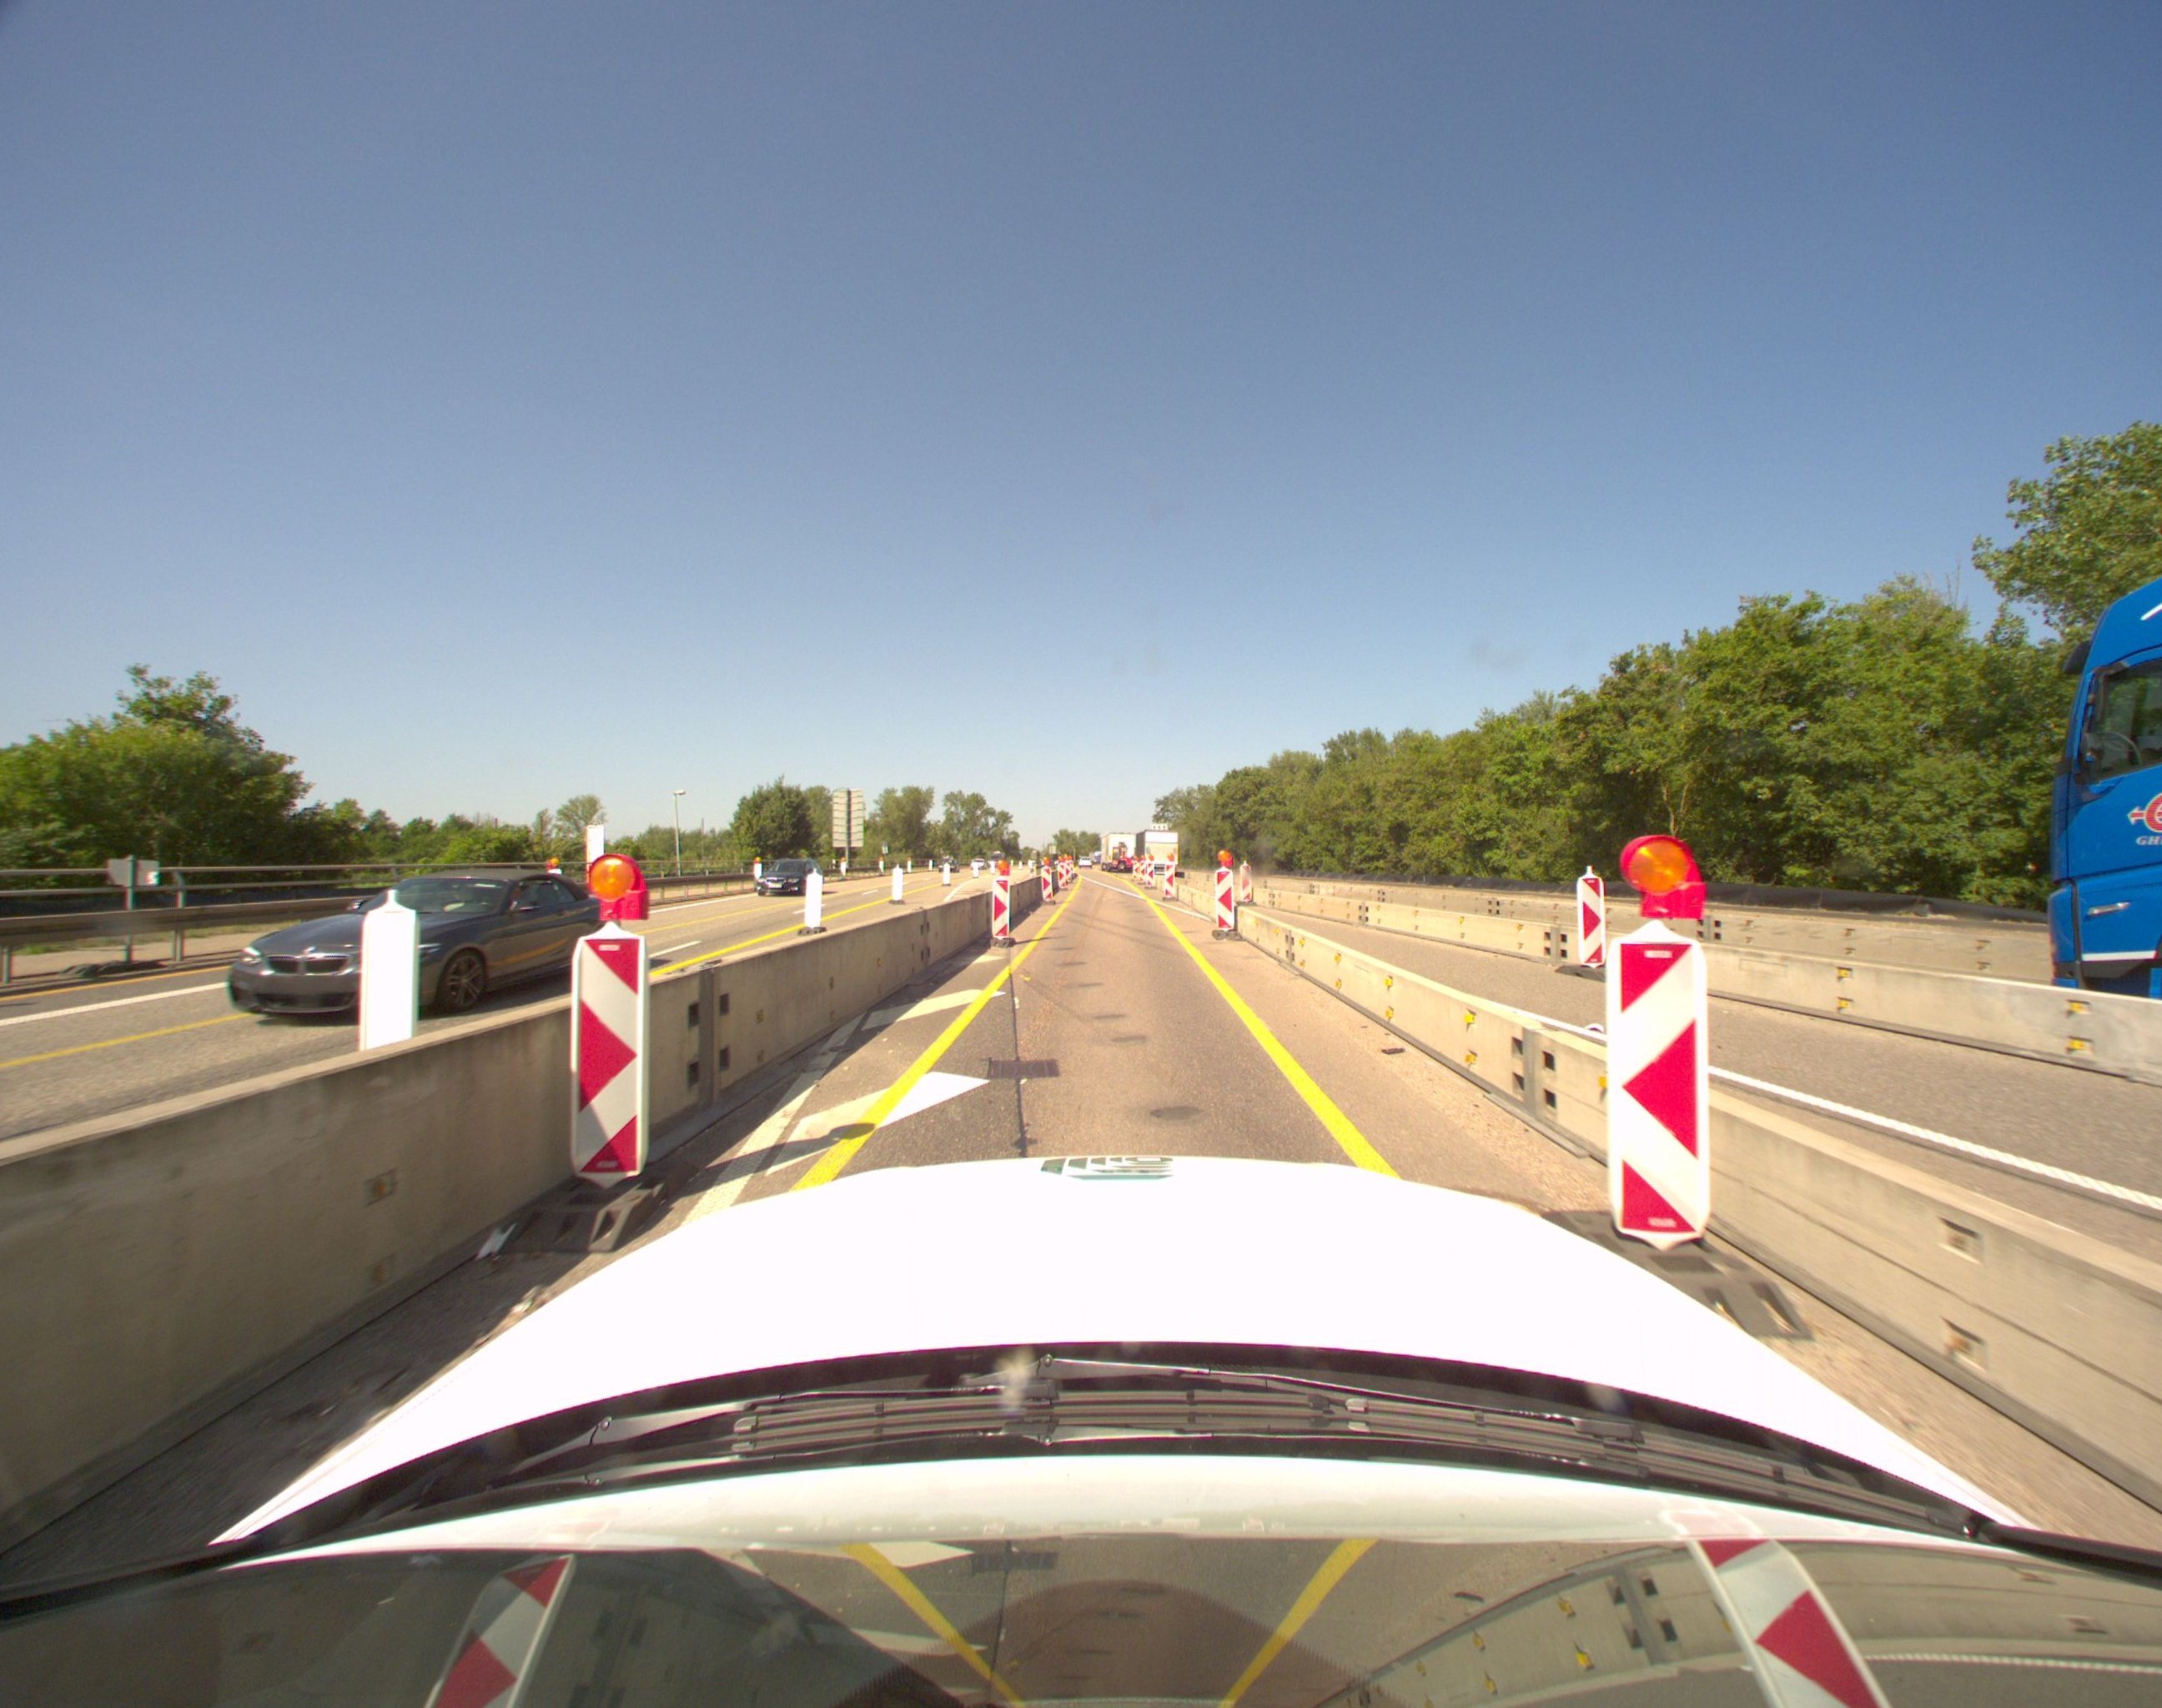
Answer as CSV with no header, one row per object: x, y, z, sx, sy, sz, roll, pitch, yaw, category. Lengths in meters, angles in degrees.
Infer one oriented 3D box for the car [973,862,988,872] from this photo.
-13.856,1.764,112.517,1.715,1.397,4.515,0,0,-2,car

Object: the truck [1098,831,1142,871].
3.865,-0.272,83.599,3.384,3.774,7.217,-2,0,-6,truck

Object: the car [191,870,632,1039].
-7.037,0.918,9.285,1.686,1.376,4.267,-1,0,-4,car

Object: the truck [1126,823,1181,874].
5.149,-0.369,59.008,2.631,3.427,7.218,-1,0,-6,truck

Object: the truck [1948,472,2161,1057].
9.170,-0.669,3.475,2.691,4.102,7.285,-2,0,-6,truck

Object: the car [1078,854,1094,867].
0.702,0.872,114.067,1.814,1.776,3.991,-2,0,-6,car

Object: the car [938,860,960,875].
-14.017,1.447,86.633,1.734,1.476,4.639,-1,0,-4,car

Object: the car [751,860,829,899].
-11.760,0.985,33.282,1.663,1.442,4.990,-1,0,-3,car

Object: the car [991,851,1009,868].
-12.936,0.923,130.131,2.139,2.661,5.546,-1,0,1,car
